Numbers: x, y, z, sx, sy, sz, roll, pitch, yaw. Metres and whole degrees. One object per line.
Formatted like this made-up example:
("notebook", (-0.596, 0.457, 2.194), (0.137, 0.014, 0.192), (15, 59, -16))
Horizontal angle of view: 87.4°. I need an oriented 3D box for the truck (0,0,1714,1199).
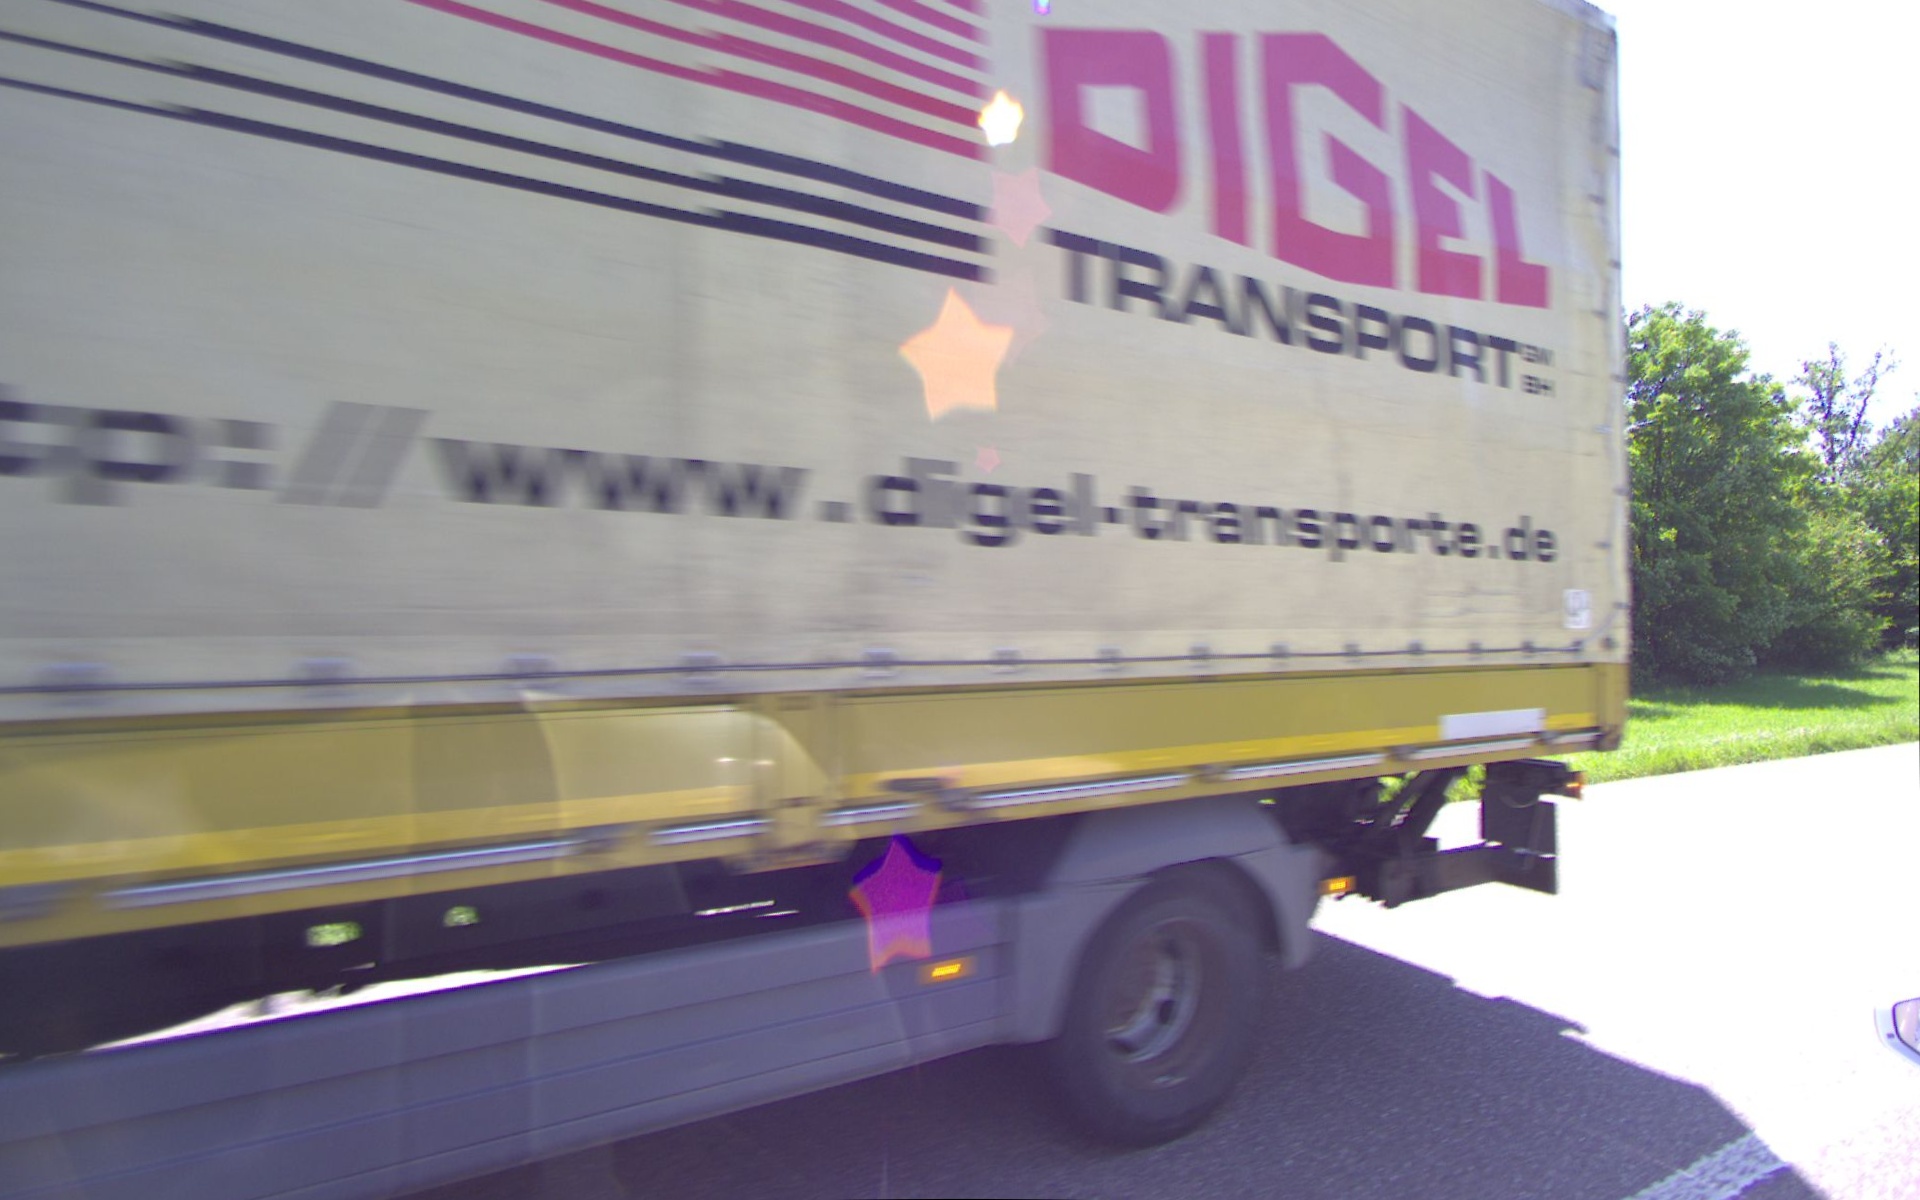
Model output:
("truck", (-1.274, -0.419, 2.973), (8.449, 3.740, 2.716), (2, -1, -32))
